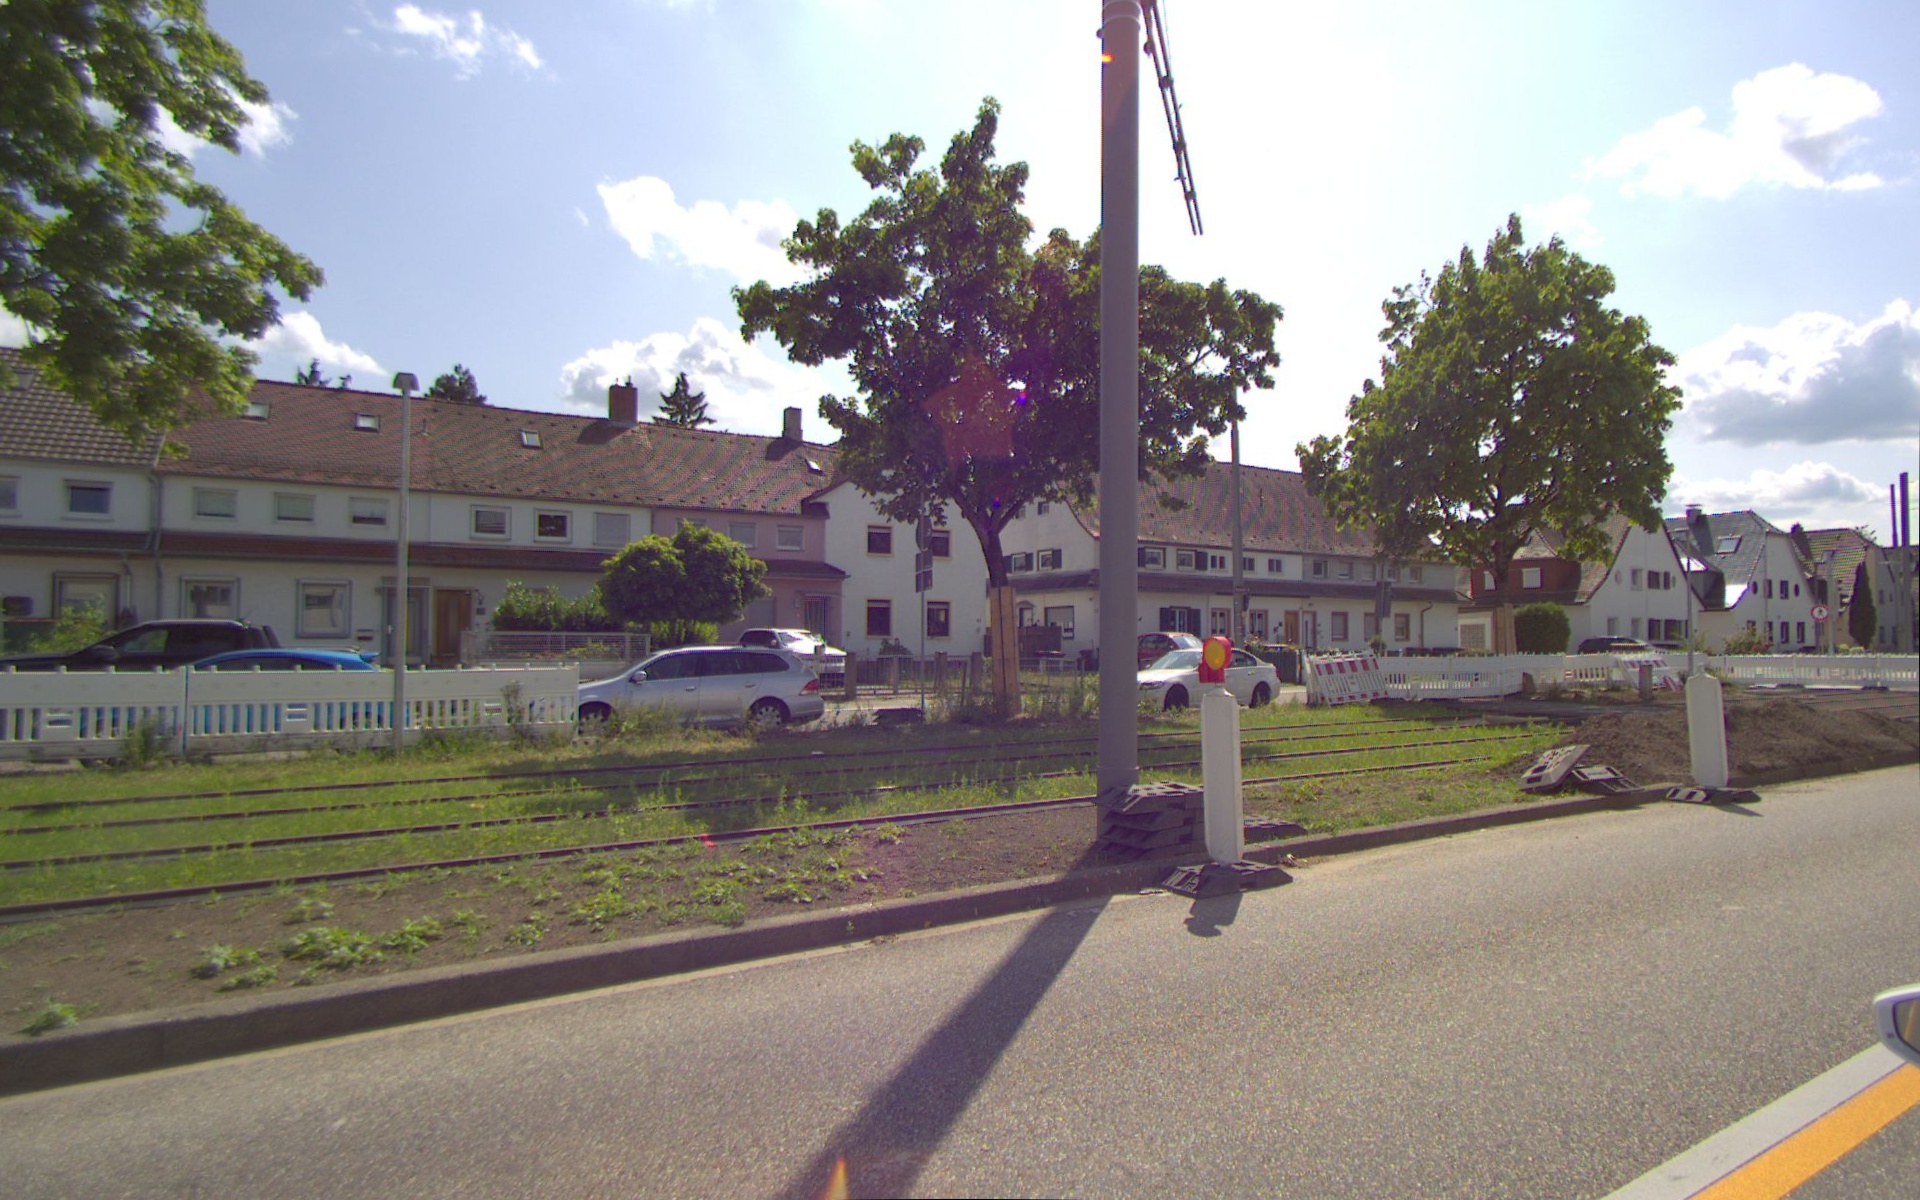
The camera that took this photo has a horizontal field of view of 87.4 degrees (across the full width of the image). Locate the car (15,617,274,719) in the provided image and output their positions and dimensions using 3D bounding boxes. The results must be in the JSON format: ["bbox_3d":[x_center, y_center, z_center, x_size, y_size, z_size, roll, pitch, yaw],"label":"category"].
[{"bbox_3d":[-13.033,1.066,16.276,3.058,1.515,1.349,1,-2,-31],"label":"car"}]

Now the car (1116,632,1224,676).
[{"bbox_3d":[7.708,1.990,37.201,1.706,1.529,3.966,1,-3,-31],"label":"car"}]

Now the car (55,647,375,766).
[{"bbox_3d":[-9.385,1.281,12.921,3.137,1.342,1.332,2,-3,-33],"label":"car"}]

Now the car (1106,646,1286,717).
[{"bbox_3d":[5.253,1.727,22.113,4.212,1.395,1.530,2,-3,-37],"label":"car"}]

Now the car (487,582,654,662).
[{"bbox_3d":[-10.715,0.618,27.670,3.955,2.040,1.983,2,-1,-32],"label":"car"}]

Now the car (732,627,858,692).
[{"bbox_3d":[-5.083,1.752,30.532,1.785,1.708,4.369,2,-1,-40],"label":"car"}]

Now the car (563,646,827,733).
[{"bbox_3d":[-4.076,1.316,15.616,3.705,1.192,1.495,1,-3,-31],"label":"car"}]
